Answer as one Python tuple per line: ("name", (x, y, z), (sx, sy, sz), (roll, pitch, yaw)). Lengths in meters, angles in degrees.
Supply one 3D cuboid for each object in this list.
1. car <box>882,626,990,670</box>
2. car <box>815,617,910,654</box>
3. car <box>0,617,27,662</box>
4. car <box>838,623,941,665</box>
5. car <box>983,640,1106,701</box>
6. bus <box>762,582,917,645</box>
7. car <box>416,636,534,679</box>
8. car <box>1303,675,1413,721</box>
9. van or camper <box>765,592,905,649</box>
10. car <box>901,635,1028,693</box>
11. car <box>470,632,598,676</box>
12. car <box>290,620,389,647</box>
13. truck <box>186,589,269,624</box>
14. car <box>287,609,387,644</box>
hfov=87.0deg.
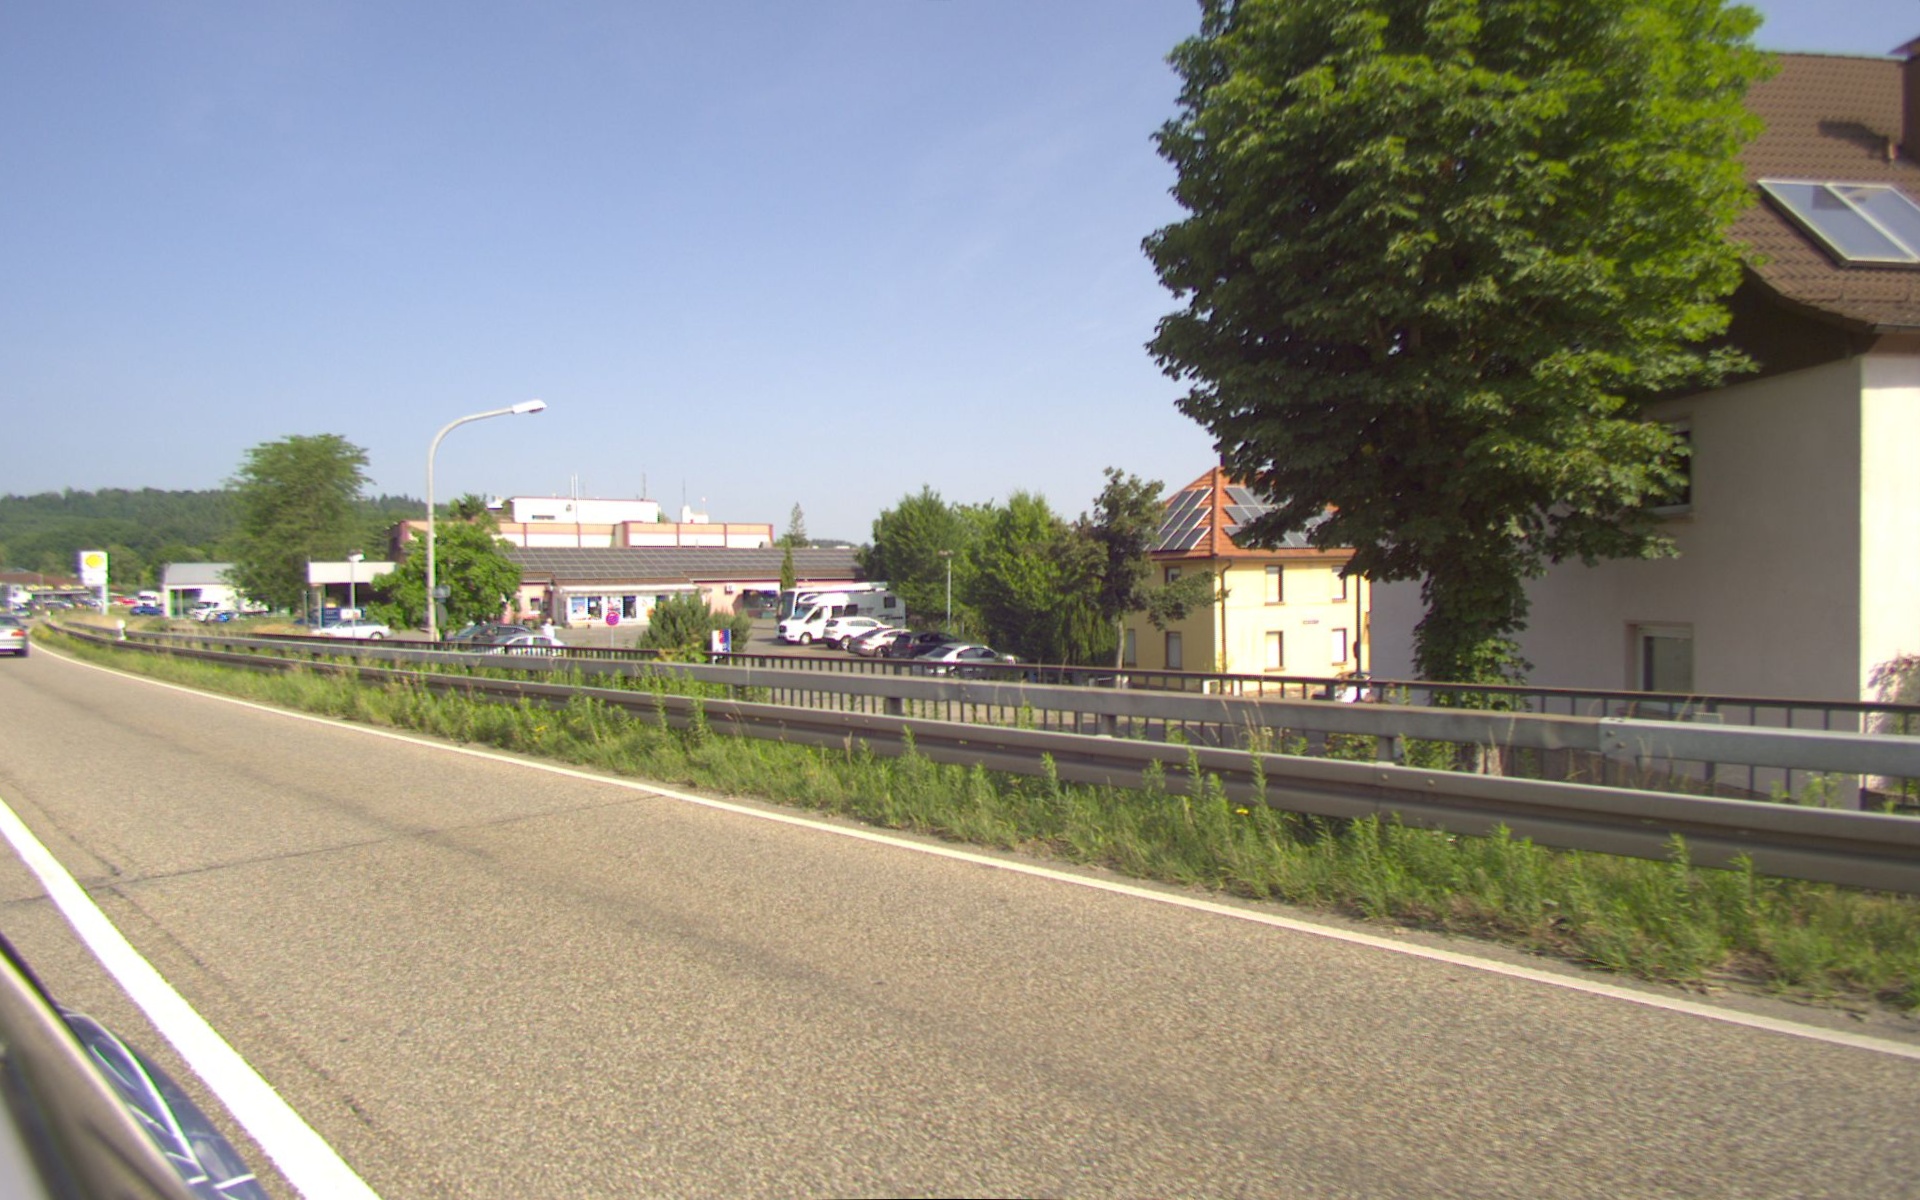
("car", (-1.046, 2.077, 44.755), (4.496, 1.646, 1.867), (-2, 2, -34))
("car", (-5.003, 1.789, 52.120), (4.499, 1.645, 1.866), (-2, 0, -37))
("car", (-31.844, 1.281, 32.995), (3.989, 1.421, 1.739), (-1, -2, 43))
("car", (-3.238, 2.002, 46.984), (4.499, 1.646, 1.866), (-2, 2, -37))
("car", (3.083, 2.475, 36.506), (4.102, 1.645, 1.867), (-4, 4, -33))
("bus", (-7.110, 0.754, 60.726), (8.980, 3.380, 2.671), (-2, -2, -37))
("car", (-21.034, 2.455, 44.018), (1.874, 1.678, 4.252), (-2, -1, 43))
("car", (14.130, 3.430, 35.868), (3.781, 1.450, 1.759), (2, -4, -34))
("van or camper", (-6.891, 1.061, 56.399), (7.298, 2.864, 2.753), (-2, 0, -37))
("car", (0.199, 2.385, 38.696), (4.495, 1.645, 1.868), (-4, 3, -30))
("car", (-16.555, 2.069, 39.462), (4.249, 1.516, 1.876), (0, -1, -43))
("car", (-35.333, 1.886, 57.718), (1.743, 1.392, 4.566), (-2, -1, 42))
("truck", (-80.353, 0.707, 111.266), (2.769, 3.583, 8.204), (-2, 0, 3))
("car", (-38.118, 1.596, 62.025), (4.824, 2.029, 2.005), (-1, -1, -13))
